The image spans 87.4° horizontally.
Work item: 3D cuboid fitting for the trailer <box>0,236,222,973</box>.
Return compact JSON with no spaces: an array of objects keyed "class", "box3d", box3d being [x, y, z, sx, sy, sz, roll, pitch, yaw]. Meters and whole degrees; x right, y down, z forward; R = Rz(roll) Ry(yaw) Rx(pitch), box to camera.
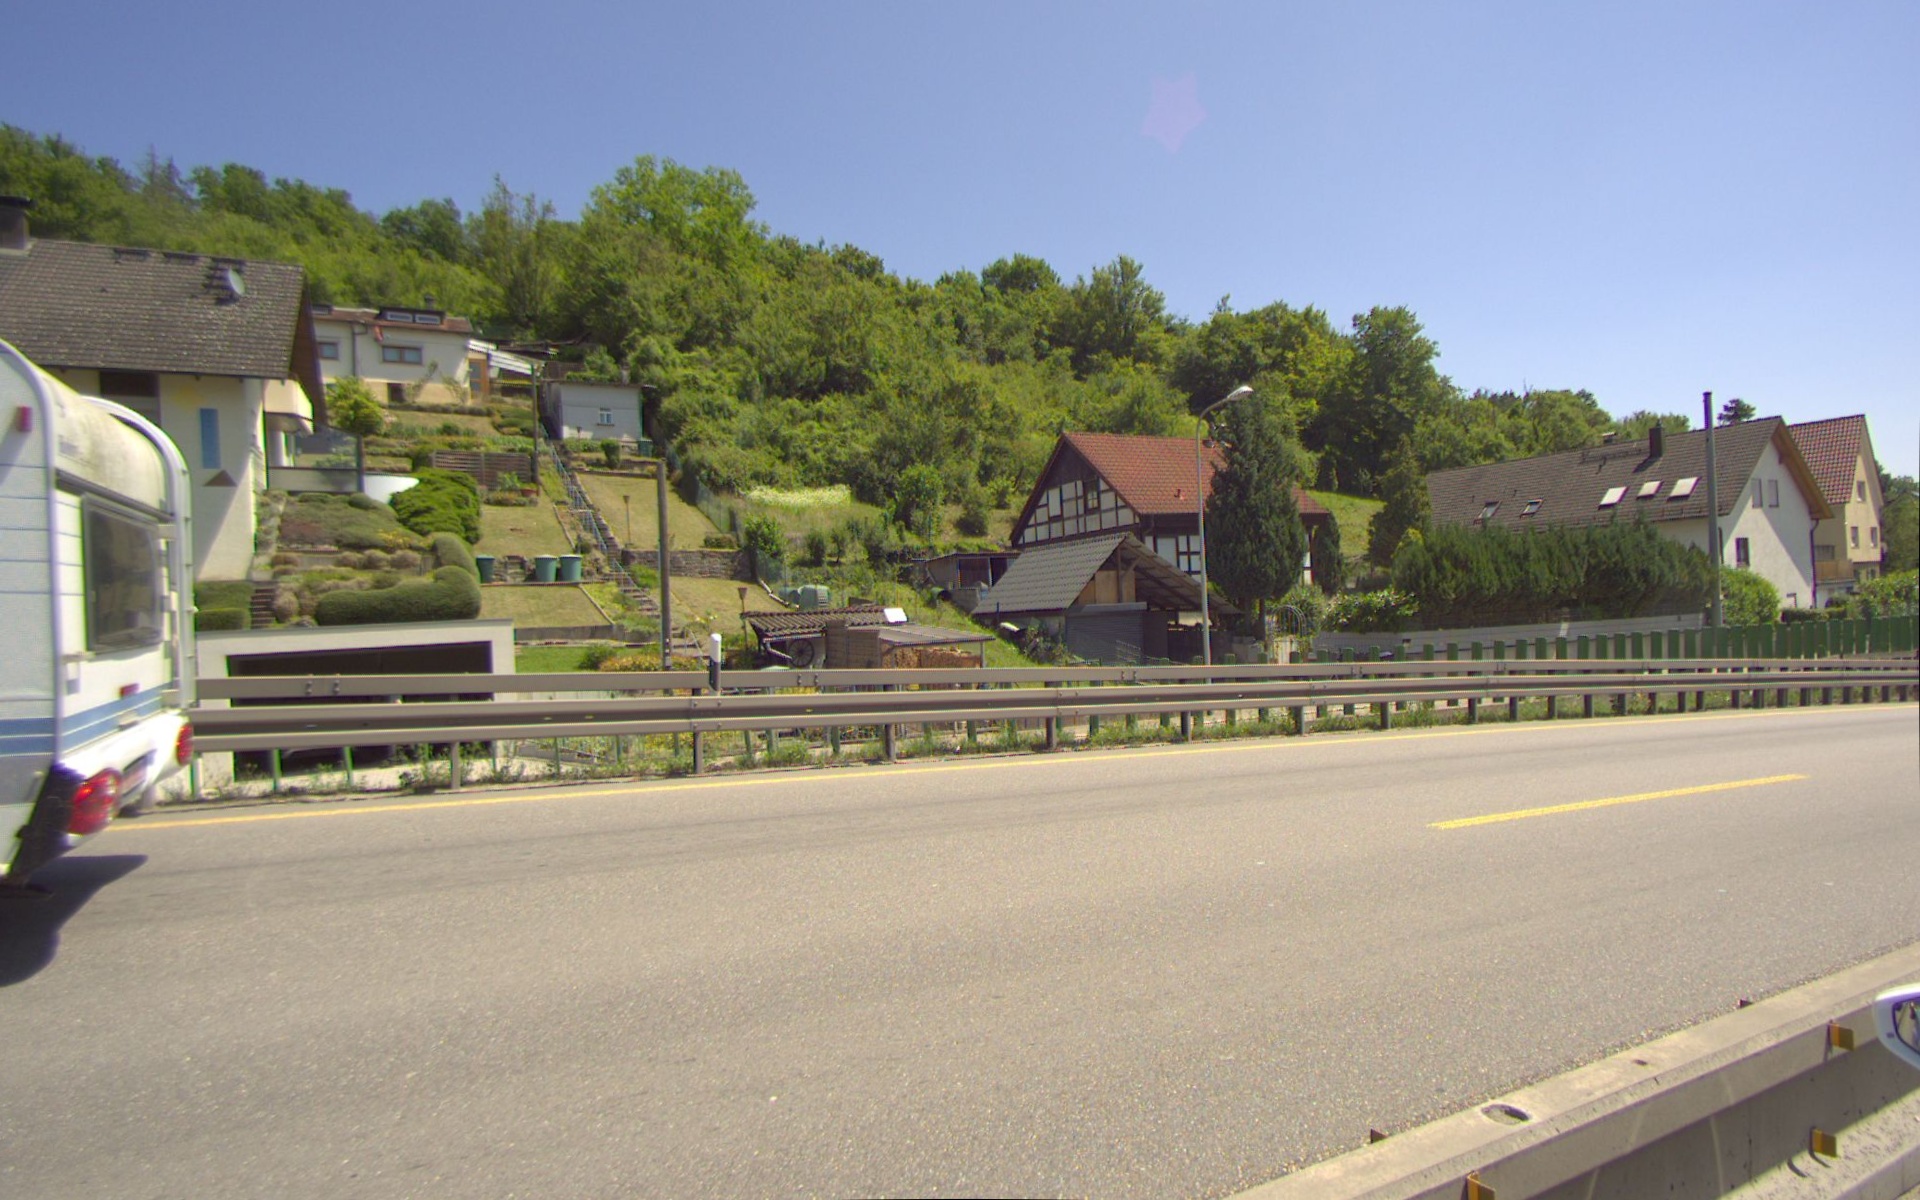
[{"class":"trailer","box3d":[-6.442,-0.058,3.275,6.169,2.623,2.587,2,-1,-31]}]
